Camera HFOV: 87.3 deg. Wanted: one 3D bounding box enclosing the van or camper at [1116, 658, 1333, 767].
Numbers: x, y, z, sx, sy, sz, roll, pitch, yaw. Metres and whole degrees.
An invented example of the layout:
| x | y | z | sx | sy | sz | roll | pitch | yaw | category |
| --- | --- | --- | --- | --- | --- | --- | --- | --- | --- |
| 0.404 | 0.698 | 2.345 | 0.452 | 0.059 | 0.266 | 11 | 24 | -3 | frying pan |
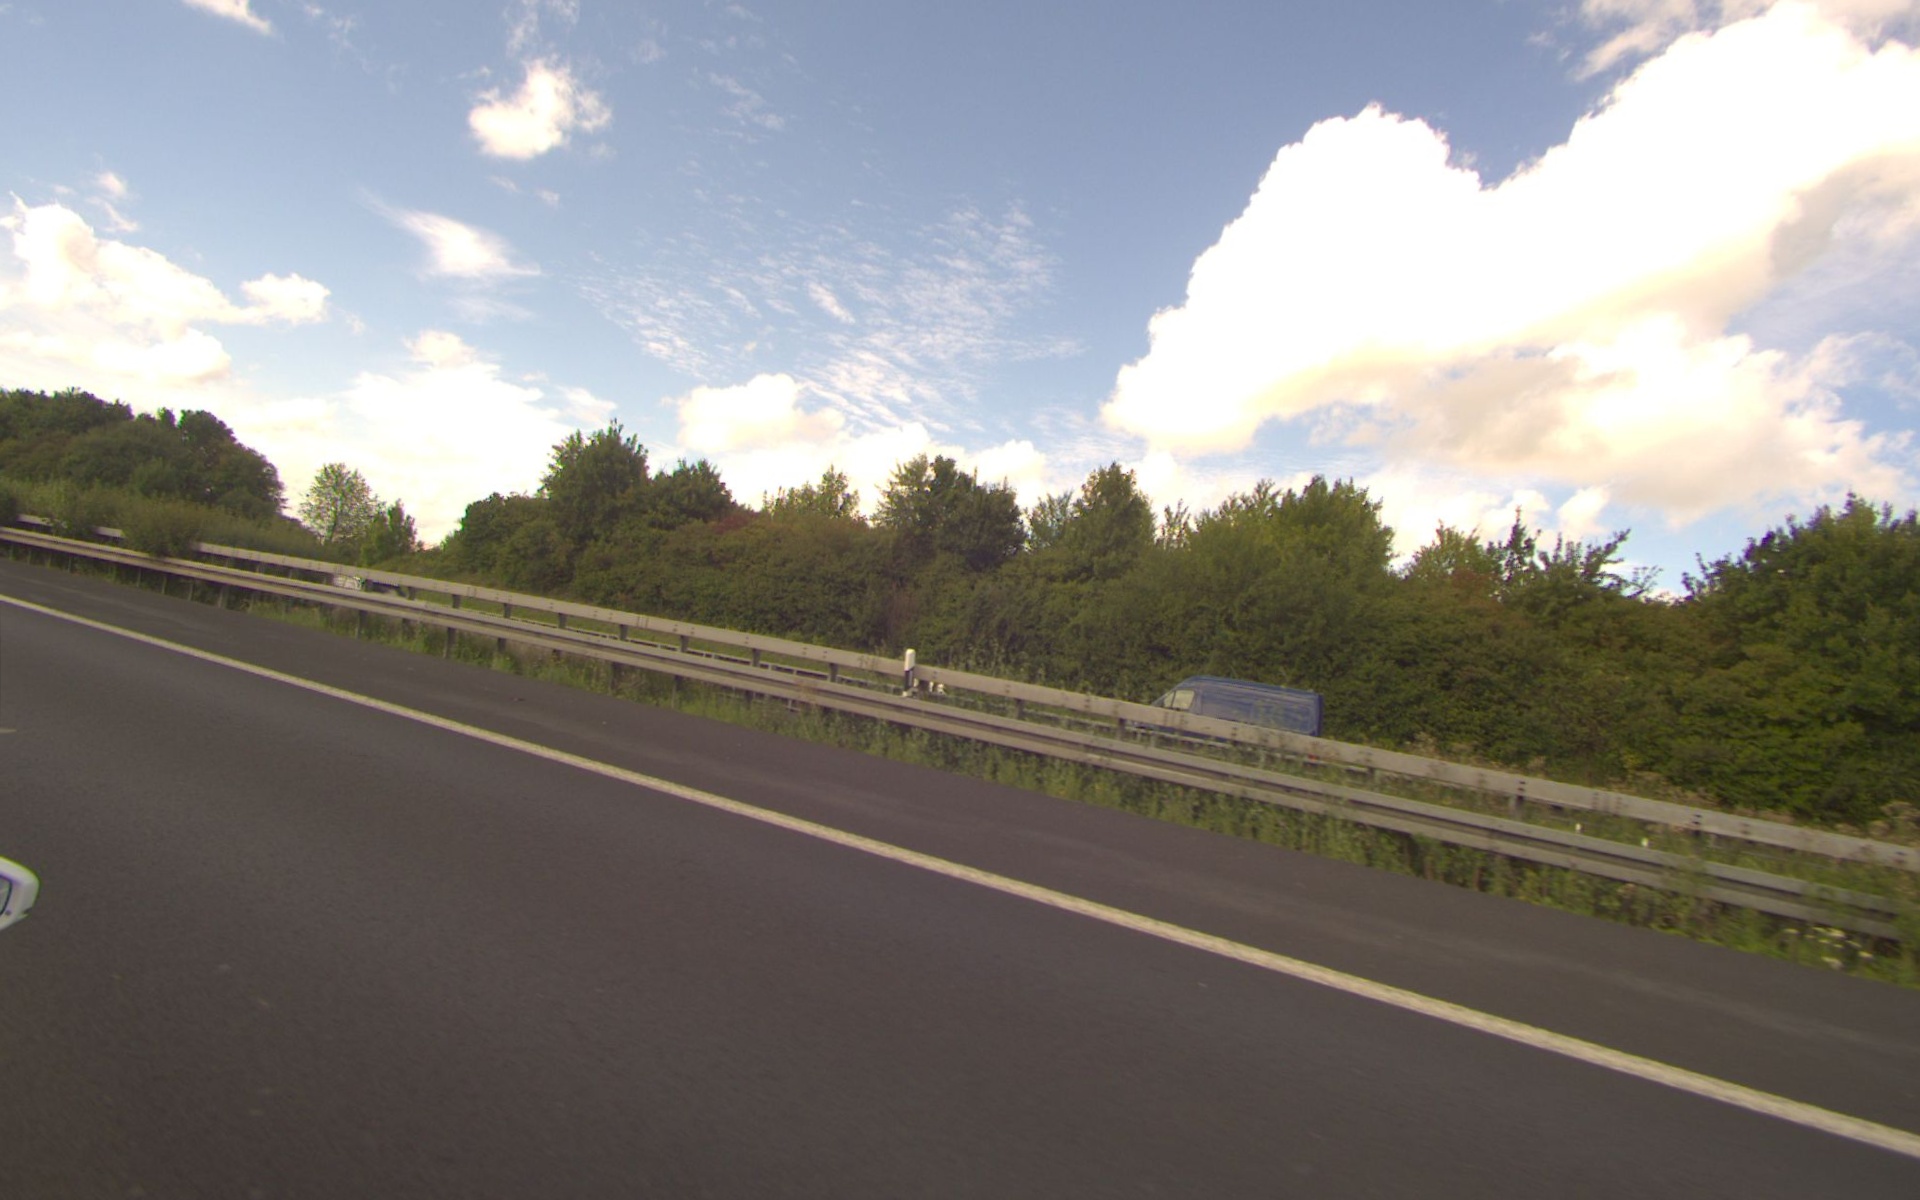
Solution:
| x | y | z | sx | sy | sz | roll | pitch | yaw | category |
| --- | --- | --- | --- | --- | --- | --- | --- | --- | --- |
| 7.703 | 3.213 | 29.361 | 5.674 | 2.204 | 2.199 | 7 | -2 | 24 | van or camper |
